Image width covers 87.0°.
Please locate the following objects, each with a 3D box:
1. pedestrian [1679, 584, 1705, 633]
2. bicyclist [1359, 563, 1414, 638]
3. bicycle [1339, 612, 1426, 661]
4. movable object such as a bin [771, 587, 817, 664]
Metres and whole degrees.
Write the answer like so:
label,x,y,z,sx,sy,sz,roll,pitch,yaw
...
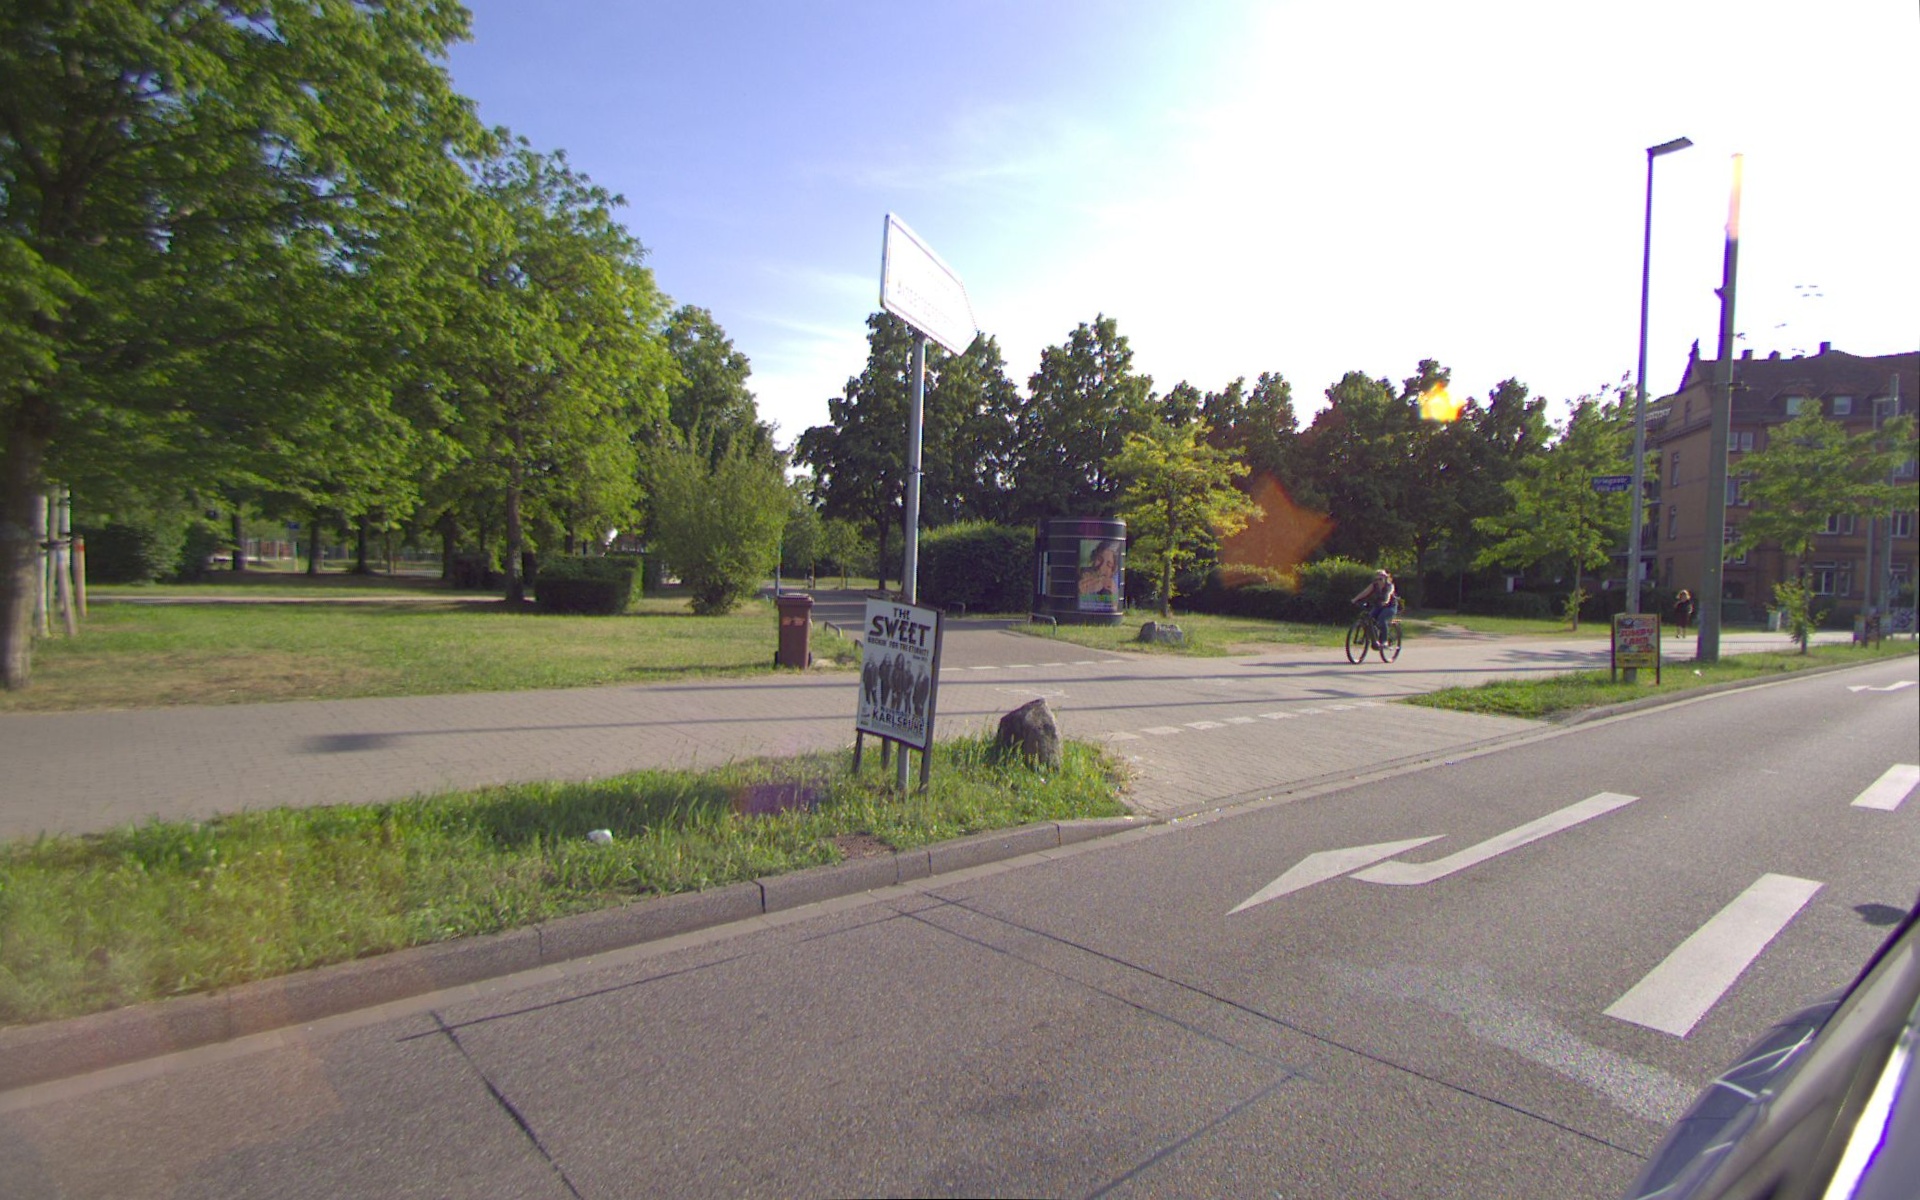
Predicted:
label,x,y,z,sx,sy,sz,roll,pitch,yaw
pedestrian,25.786,0.278,35.646,0.607,1.706,0.621,1,0,-41
bicyclist,7.538,-0.004,17.867,0.854,1.278,0.535,1,2,-41
bicycle,7.474,0.621,17.842,2.131,0.766,0.496,0,3,-41
movable object such as a bin,-2.085,0.311,12.763,0.447,0.929,0.605,2,1,0
